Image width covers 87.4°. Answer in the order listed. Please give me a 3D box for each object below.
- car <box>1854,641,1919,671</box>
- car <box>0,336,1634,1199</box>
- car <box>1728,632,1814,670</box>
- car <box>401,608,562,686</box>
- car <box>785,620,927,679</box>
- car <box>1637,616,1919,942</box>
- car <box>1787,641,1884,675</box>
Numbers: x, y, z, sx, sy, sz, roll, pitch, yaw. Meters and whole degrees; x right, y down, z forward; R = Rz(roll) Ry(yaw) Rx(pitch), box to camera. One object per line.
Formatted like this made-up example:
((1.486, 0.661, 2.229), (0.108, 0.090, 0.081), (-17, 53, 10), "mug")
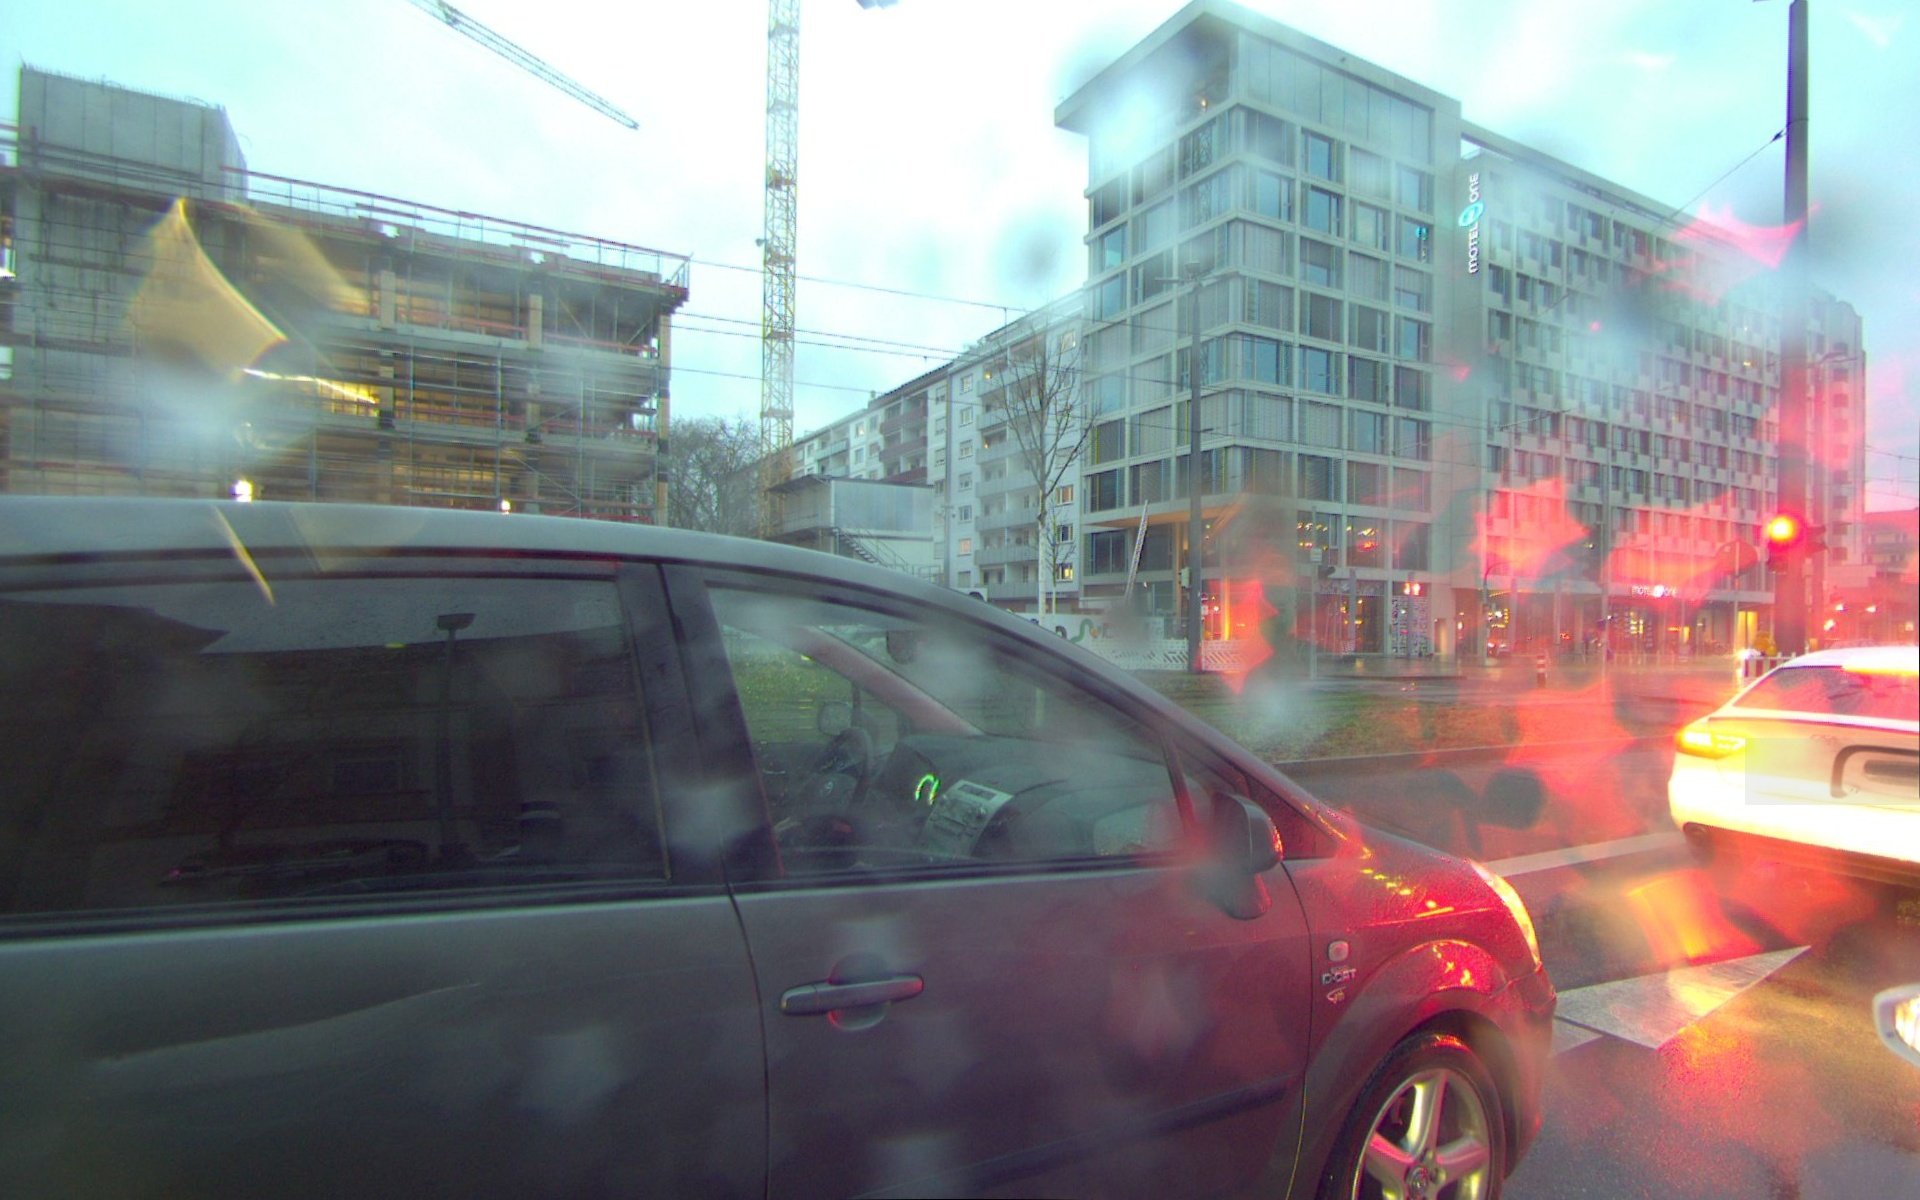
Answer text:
((51.445, 3.049, 55.358), (5.041, 1.481, 1.982), (2, 0, -33), "car")
((-0.492, 0.596, 2.144), (3.956, 1.615, 1.750), (2, 0, -32), "car")
((41.760, 2.605, 51.702), (4.543, 1.813, 1.873), (2, 0, -29), "car")
((-14.083, 1.377, 29.828), (4.020, 2.151, 1.951), (2, 0, -19), "car")
((-3.267, 1.545, 31.529), (4.027, 1.709, 1.947), (2, 0, -24), "car")
((6.090, 0.904, 6.089), (4.205, 1.489, 1.750), (2, 0, -32), "car")
((42.027, 2.779, 48.196), (5.035, 1.481, 1.984), (2, 0, -30), "car")
